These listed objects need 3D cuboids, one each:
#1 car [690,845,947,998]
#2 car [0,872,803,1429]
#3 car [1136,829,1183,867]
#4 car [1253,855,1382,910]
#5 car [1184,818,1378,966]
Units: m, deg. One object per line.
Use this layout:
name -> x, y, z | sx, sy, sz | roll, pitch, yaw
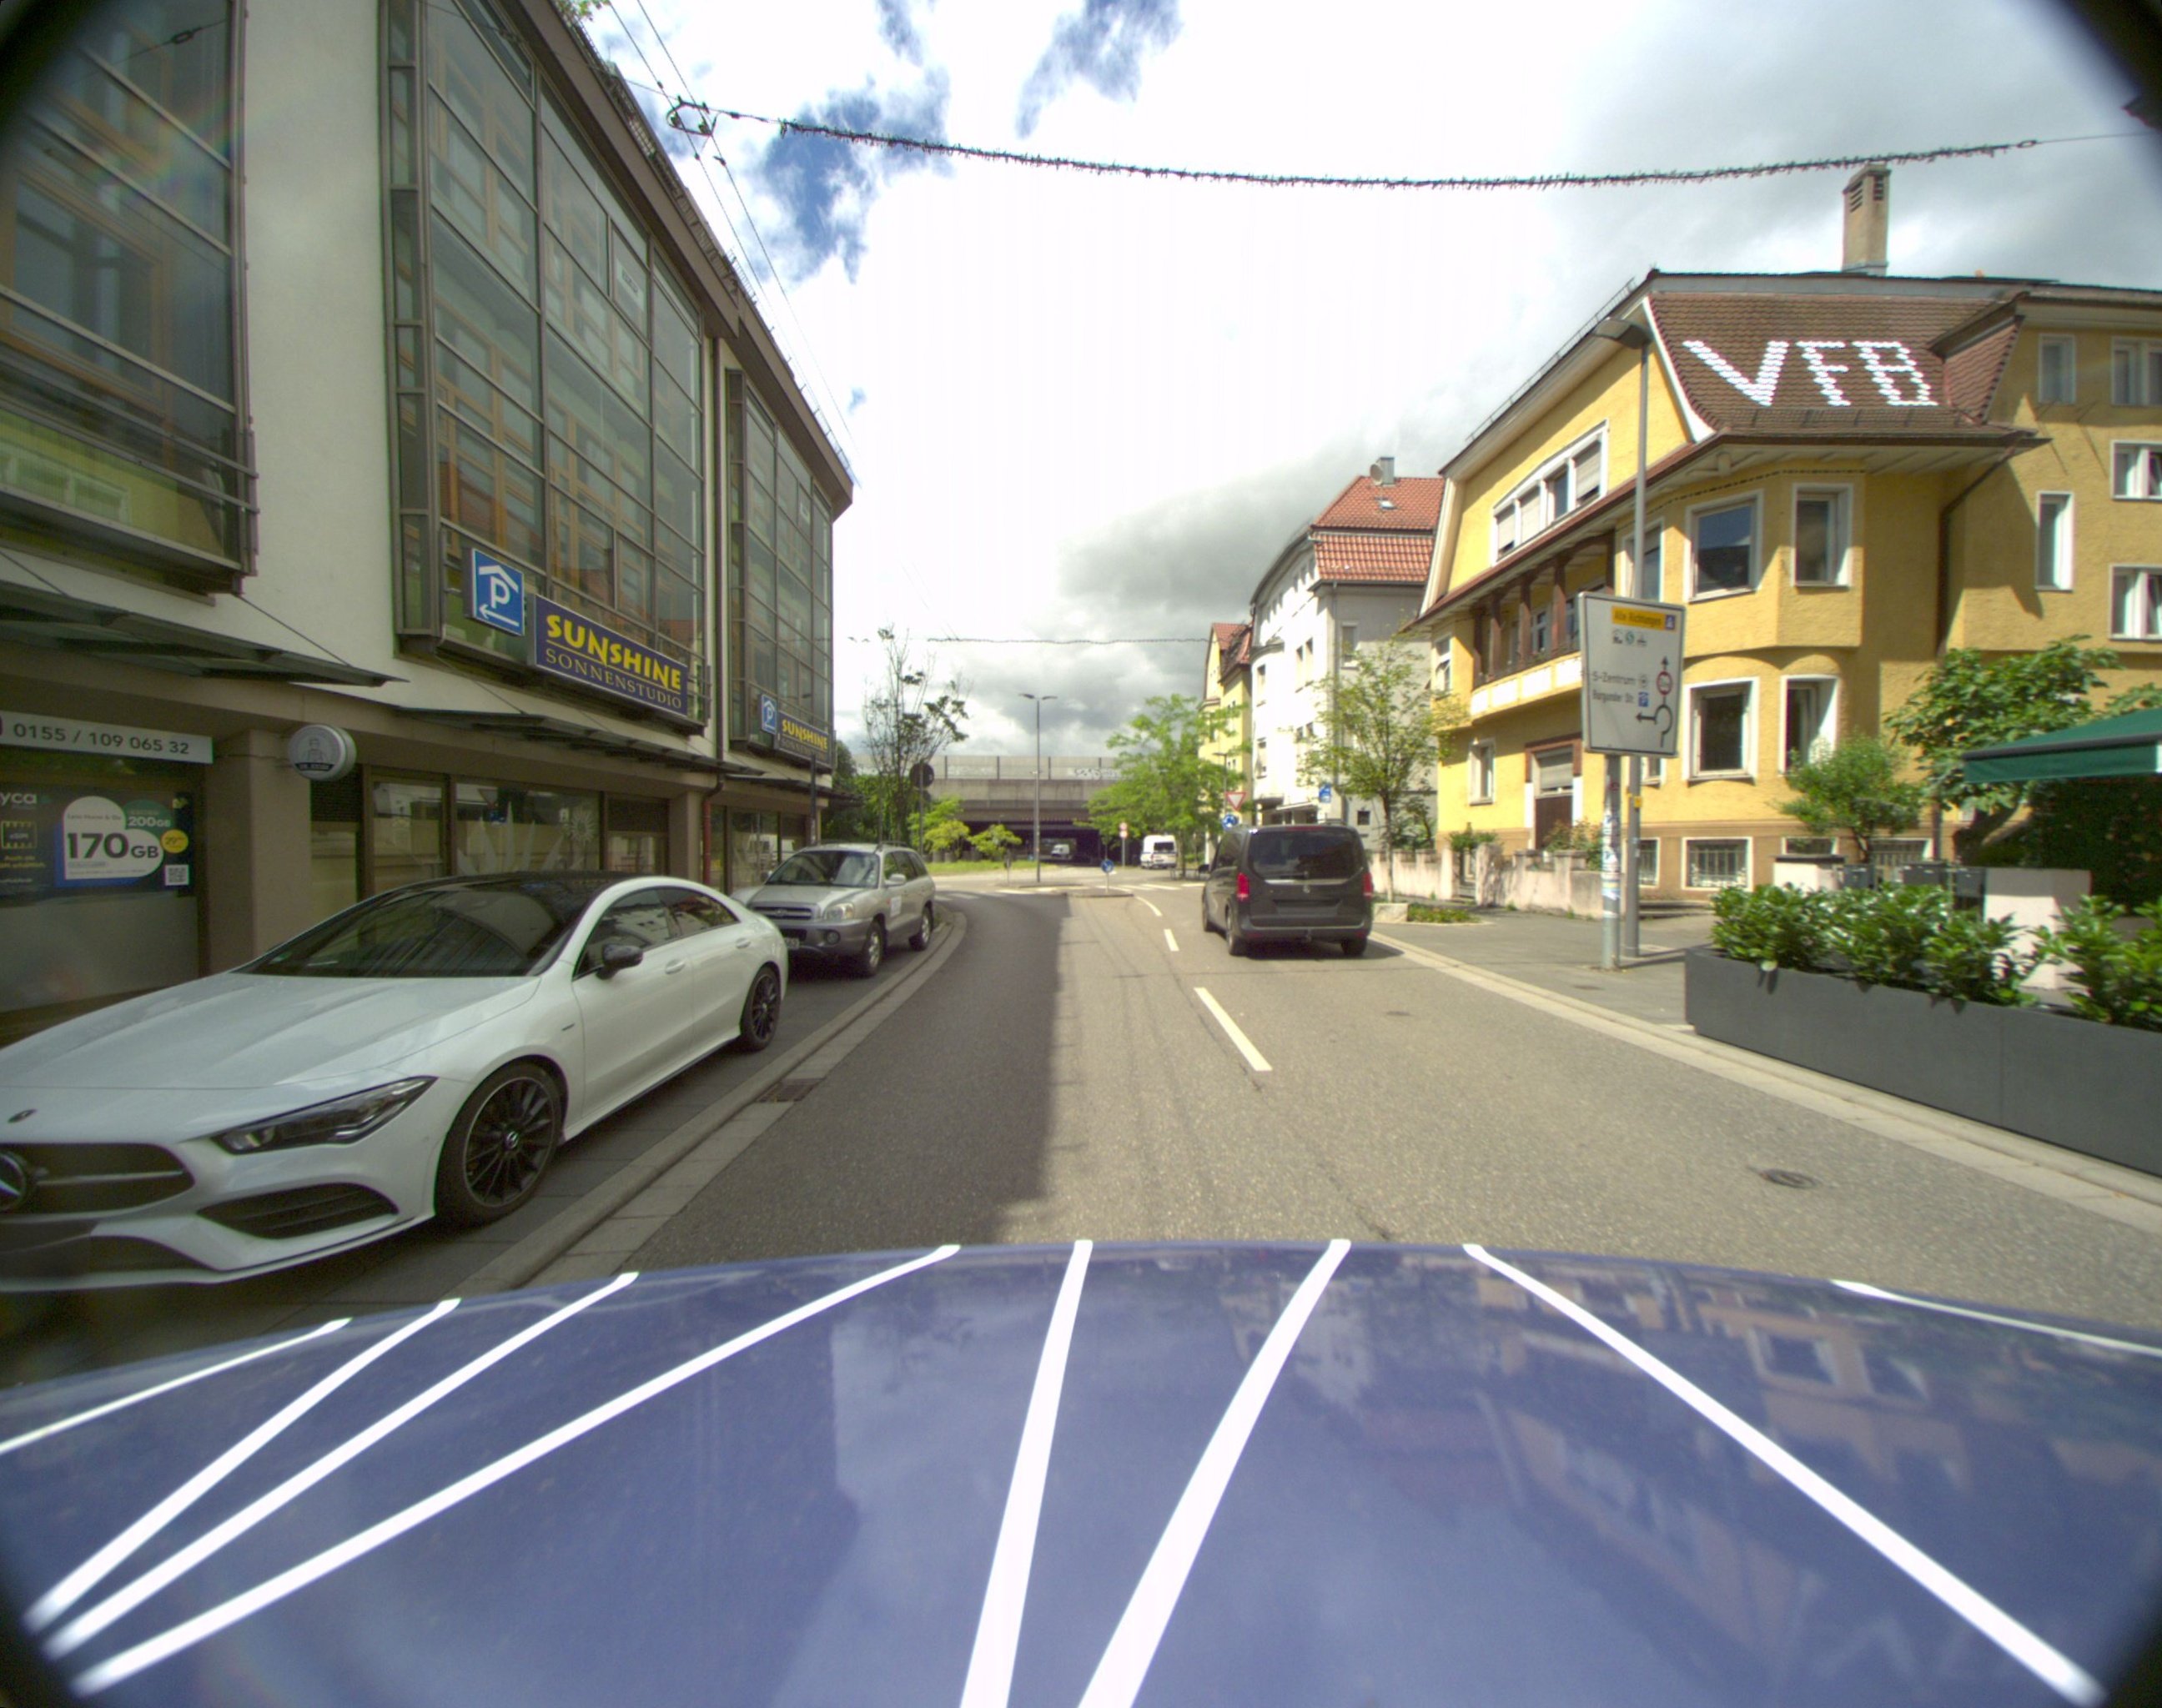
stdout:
car -> -3.300, 0.716, 10.611 | 1.825, 1.652, 4.467 | 1, 1, 3
car -> -3.371, 0.916, 4.437 | 1.857, 1.436, 4.534 | -1, 1, -1
car -> 5.947, -0.527, 58.788 | 2.309, 2.657, 7.265 | -2, 1, -4
car -> 6.192, 0.695, 20.455 | 1.722, 1.296, 4.464 | -1, 0, -5
car -> 2.964, 0.508, 12.508 | 1.876, 1.921, 5.176 | -1, 0, 1
